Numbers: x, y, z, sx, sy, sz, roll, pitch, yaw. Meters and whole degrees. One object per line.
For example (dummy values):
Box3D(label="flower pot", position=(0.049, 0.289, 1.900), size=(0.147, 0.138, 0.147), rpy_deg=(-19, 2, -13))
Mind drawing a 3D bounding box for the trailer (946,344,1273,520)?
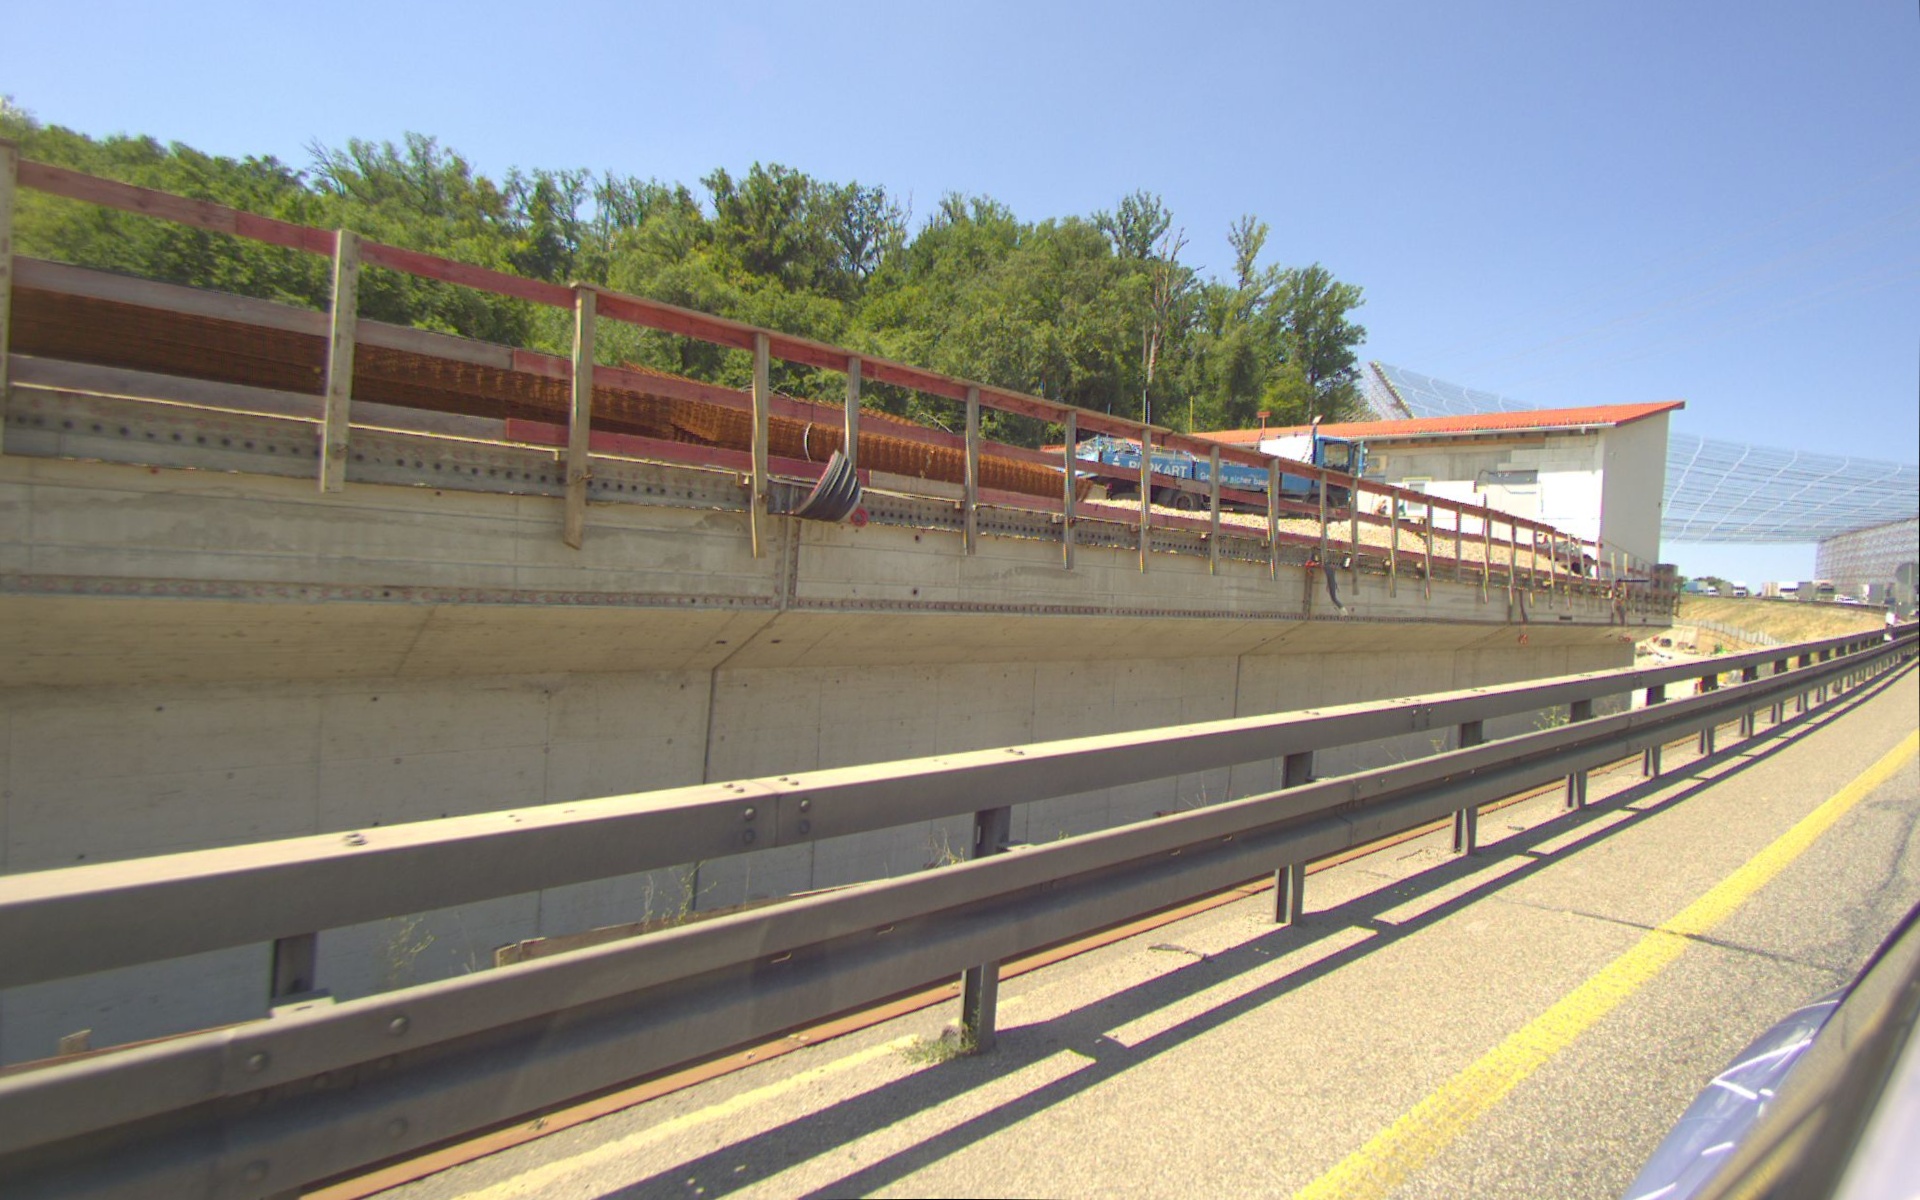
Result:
Box3D(label="trailer", position=(4.289, -4.553, 28.819), size=(8.805, 3.741, 2.725), rpy_deg=(3, -1, -19))

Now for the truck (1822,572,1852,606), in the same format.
Box3D(label="truck", position=(127.659, -1.675, 147.417), size=(3.029, 4.865, 8.815), rpy_deg=(0, 1, 40))

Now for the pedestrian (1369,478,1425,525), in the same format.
Box3D(label="pedestrian", position=(11.704, -2.624, 27.102), size=(0.976, 1.165, 1.022), rpy_deg=(-1, 1, -37))

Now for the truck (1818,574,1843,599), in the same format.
Box3D(label="truck", position=(148.894, -2.325, 173.209), size=(3.029, 4.107, 8.552), rpy_deg=(0, 1, 39))

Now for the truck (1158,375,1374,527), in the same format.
Box3D(label="truck", position=(9.225, -4.349, 30.594), size=(5.590, 3.741, 2.725), rpy_deg=(3, -1, -19))

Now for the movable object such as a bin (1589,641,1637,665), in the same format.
Box3D(label="movable object such as a bin", position=(83.727, 6.721, 129.896), size=(2.175, 2.669, 5.509), rpy_deg=(0, 1, -7))
